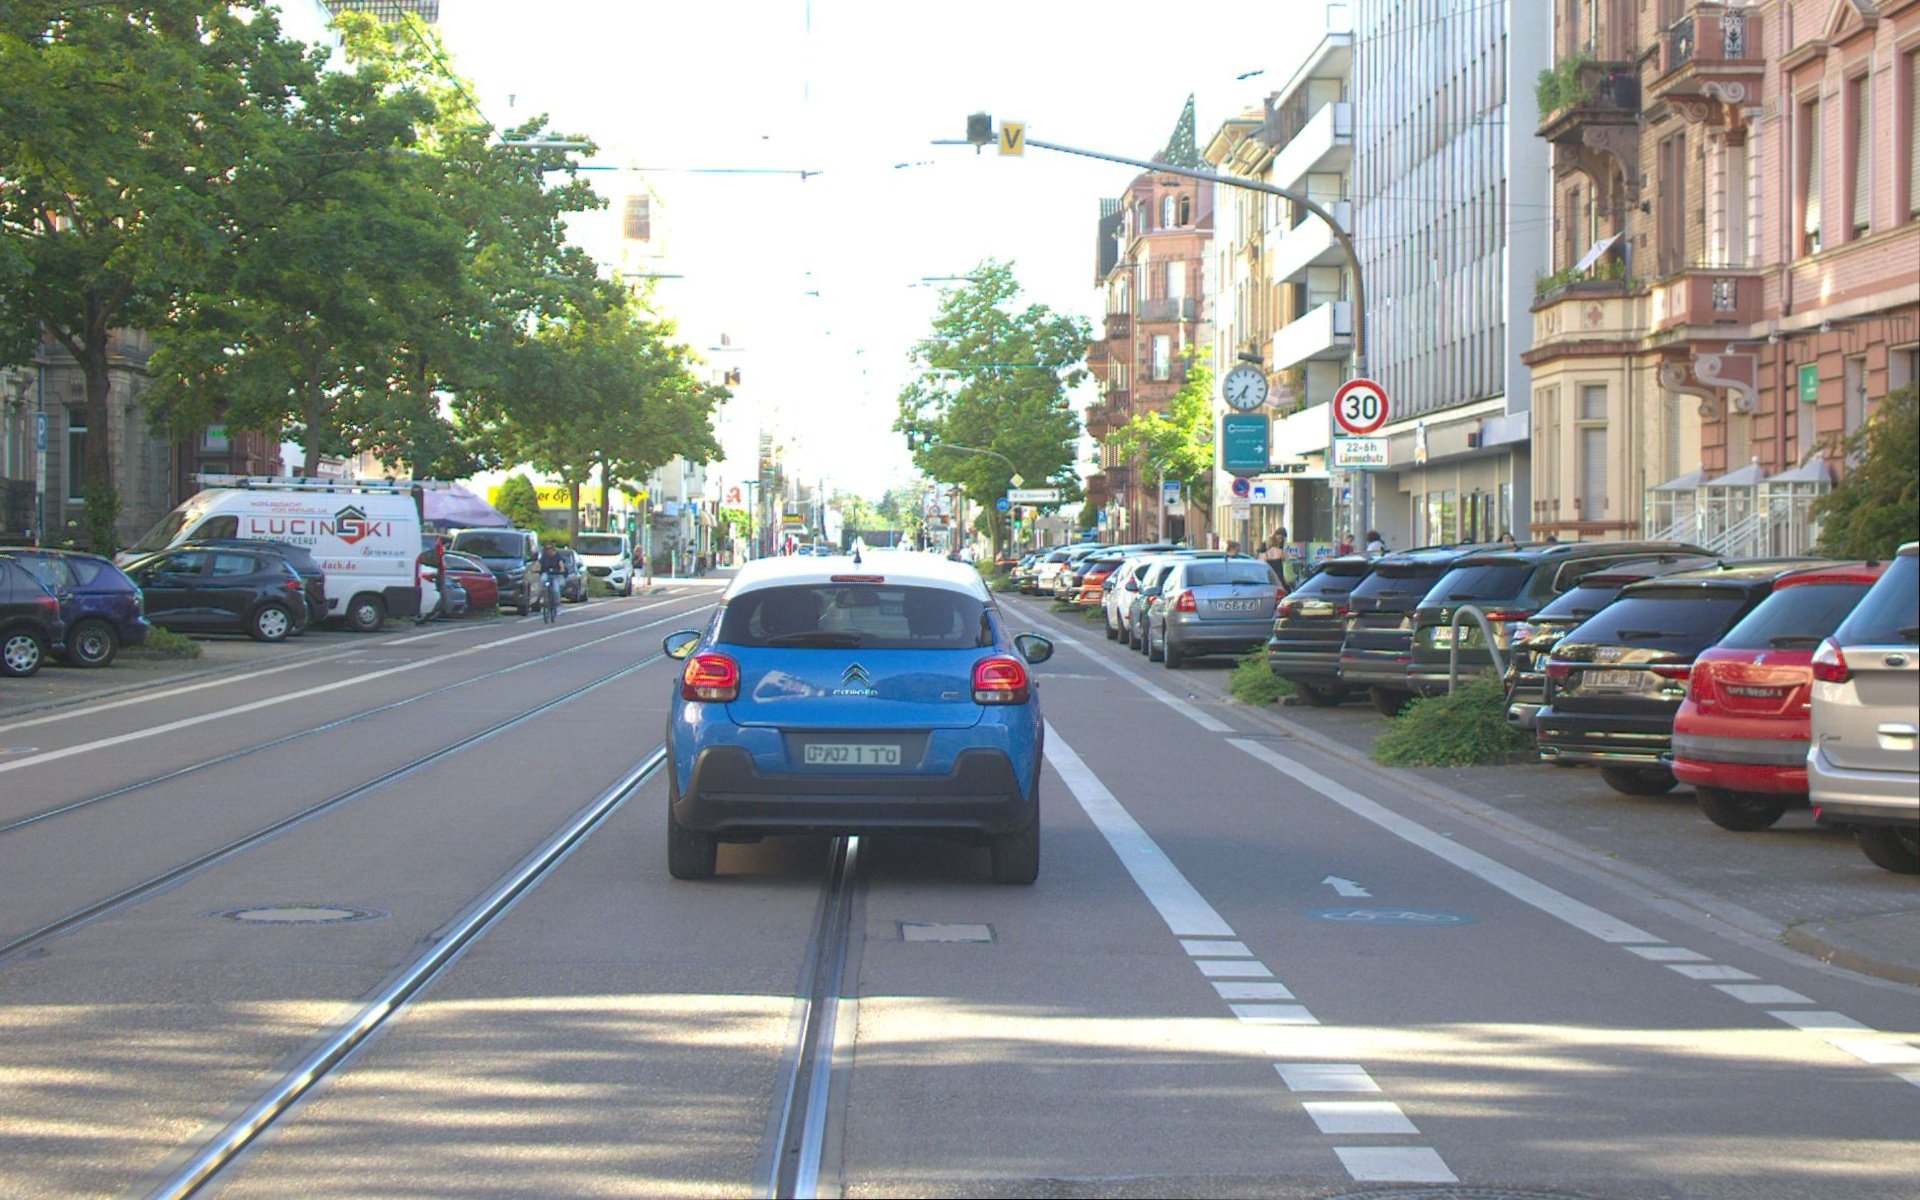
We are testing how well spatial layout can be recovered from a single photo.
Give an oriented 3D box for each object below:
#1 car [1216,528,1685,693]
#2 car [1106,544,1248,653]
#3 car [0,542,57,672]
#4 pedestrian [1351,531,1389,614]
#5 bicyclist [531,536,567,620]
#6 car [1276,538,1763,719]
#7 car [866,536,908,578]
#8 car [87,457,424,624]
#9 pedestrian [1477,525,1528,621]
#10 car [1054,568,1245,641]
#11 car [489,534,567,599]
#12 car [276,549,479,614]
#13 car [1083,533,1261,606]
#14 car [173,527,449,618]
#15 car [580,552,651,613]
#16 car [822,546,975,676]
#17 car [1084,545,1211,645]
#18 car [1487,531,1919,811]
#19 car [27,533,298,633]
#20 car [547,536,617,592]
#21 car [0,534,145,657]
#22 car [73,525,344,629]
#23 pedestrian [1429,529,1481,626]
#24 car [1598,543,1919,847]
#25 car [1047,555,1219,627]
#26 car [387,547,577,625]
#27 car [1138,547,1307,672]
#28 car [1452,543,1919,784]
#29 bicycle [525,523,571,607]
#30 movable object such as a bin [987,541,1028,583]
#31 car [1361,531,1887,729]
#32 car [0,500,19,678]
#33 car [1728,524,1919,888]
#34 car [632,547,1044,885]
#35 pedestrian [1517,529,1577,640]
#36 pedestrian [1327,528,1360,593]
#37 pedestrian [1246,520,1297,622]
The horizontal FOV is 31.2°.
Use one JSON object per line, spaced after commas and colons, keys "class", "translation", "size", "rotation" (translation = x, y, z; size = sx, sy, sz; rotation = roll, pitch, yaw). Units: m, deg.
{"class": "car", "translation": [4.974, 0.108, 34.869], "size": [4.302, 1.590, 1.983], "rotation": [1, 1, -25]}
{"class": "car", "translation": [3.313, -0.039, 53.148], "size": [1.873, 1.590, 4.000], "rotation": [1, 1, -1]}
{"class": "car", "translation": [-12.611, 0.052, 39.392], "size": [3.987, 1.484, 1.806], "rotation": [1, 1, -33]}
{"class": "pedestrian", "translation": [8.825, -0.592, 74.046], "size": [0.692, 1.750, 0.678], "rotation": [1, 0, -1]}
{"class": "bicyclist", "translation": [-8.360, -0.452, 69.954], "size": [0.634, 1.675, 0.727], "rotation": [1, 0, -1]}
{"class": "car", "translation": [5.231, 0.261, 32.166], "size": [3.986, 1.590, 2.088], "rotation": [1, 1, -25]}
{"class": "car", "translation": [-2.567, -1.525, 121.075], "size": [1.423, 1.427, 3.139], "rotation": [1, 1, -1]}
{"class": "car", "translation": [-12.134, -0.991, 59.359], "size": [5.370, 2.739, 1.806], "rotation": [1, 1, -30]}
{"class": "pedestrian", "translation": [9.193, -0.462, 58.263], "size": [0.711, 1.601, 0.654], "rotation": [1, 0, -2]}
{"class": "car", "translation": [4.168, 0.103, 75.574], "size": [3.718, 1.515, 1.968], "rotation": [1, 1, -33]}
{"class": "car", "translation": [-11.285, -0.879, 89.960], "size": [1.747, 1.612, 4.411], "rotation": [1, 1, -4]}
{"class": "car", "translation": [-11.890, -0.376, 70.234], "size": [3.796, 1.261, 1.516], "rotation": [1, 1, -26]}
{"class": "car", "translation": [5.031, -0.720, 81.481], "size": [3.718, 1.646, 2.048], "rotation": [1, 1, -33]}
{"class": "car", "translation": [-12.072, -0.500, 64.071], "size": [4.755, 1.612, 1.712], "rotation": [1, 1, -33]}
{"class": "car", "translation": [-10.846, -0.567, 108.545], "size": [1.831, 1.841, 4.214], "rotation": [1, 1, -1]}
{"class": "car", "translation": [-0.788, 0.113, 44.903], "size": [1.873, 1.590, 4.000], "rotation": [1, 1, -1]}
{"class": "car", "translation": [3.143, -0.104, 58.294], "size": [1.873, 1.590, 4.000], "rotation": [1, 1, -1]}
{"class": "car", "translation": [5.747, 0.411, 21.429], "size": [4.433, 1.590, 2.089], "rotation": [1, 1, -25]}
{"class": "car", "translation": [-12.503, -0.268, 53.851], "size": [3.986, 1.484, 1.807], "rotation": [1, 1, -17]}
{"class": "car", "translation": [-10.478, -1.003, 95.581], "size": [1.747, 1.481, 4.043], "rotation": [1, 1, -4]}
{"class": "car", "translation": [-12.314, -0.075, 42.541], "size": [3.986, 1.484, 1.806], "rotation": [1, 1, -28]}
{"class": "car", "translation": [-12.241, -0.378, 56.019], "size": [3.986, 1.612, 1.713], "rotation": [1, 1, -26]}
{"class": "pedestrian", "translation": [8.341, -0.385, 57.973], "size": [0.712, 1.601, 0.654], "rotation": [-2, 1, -2]}
{"class": "car", "translation": [5.764, 0.488, 19.035], "size": [3.986, 1.531, 1.919], "rotation": [1, 1, -25]}
{"class": "car", "translation": [3.931, -0.205, 78.039], "size": [3.441, 1.550, 1.824], "rotation": [1, 1, -32]}
{"class": "car", "translation": [-10.370, -0.309, 74.527], "size": [3.722, 1.617, 1.789], "rotation": [1, 1, -22]}
{"class": "car", "translation": [3.523, 0.099, 46.872], "size": [1.873, 1.590, 4.719], "rotation": [1, 1, -1]}
{"class": "car", "translation": [5.933, 0.431, 24.656], "size": [4.317, 1.590, 2.046], "rotation": [1, 1, -25]}
{"class": "bicycle", "translation": [-8.369, -0.713, 69.916], "size": [0.680, 1.673, 2.097], "rotation": [1, 1, -1]}
{"class": "movable object such as a bin", "translation": [1.725, -1.388, 125.344], "size": [1.394, 1.478, 1.655], "rotation": [1, 1, -1]}
{"class": "car", "translation": [5.658, 0.244, 29.318], "size": [3.986, 1.590, 1.960], "rotation": [1, 1, -25]}
{"class": "car", "translation": [-11.763, -0.149, 33.940], "size": [4.353, 1.777, 1.996], "rotation": [1, 1, -33]}
{"class": "car", "translation": [6.011, 0.483, 16.345], "size": [4.350, 1.590, 1.854], "rotation": [1, 1, -25]}
{"class": "car", "translation": [-0.566, 0.482, 16.699], "size": [1.762, 1.436, 3.557], "rotation": [1, 1, -1]}
{"class": "pedestrian", "translation": [8.537, -0.226, 50.040], "size": [0.711, 1.601, 0.654], "rotation": [1, 0, -2]}
{"class": "pedestrian", "translation": [9.507, -0.984, 85.225], "size": [0.692, 1.582, 0.678], "rotation": [1, 0, -1]}
{"class": "pedestrian", "translation": [4.962, -0.458, 54.753], "size": [0.711, 1.601, 0.654], "rotation": [1, 0, -2]}
